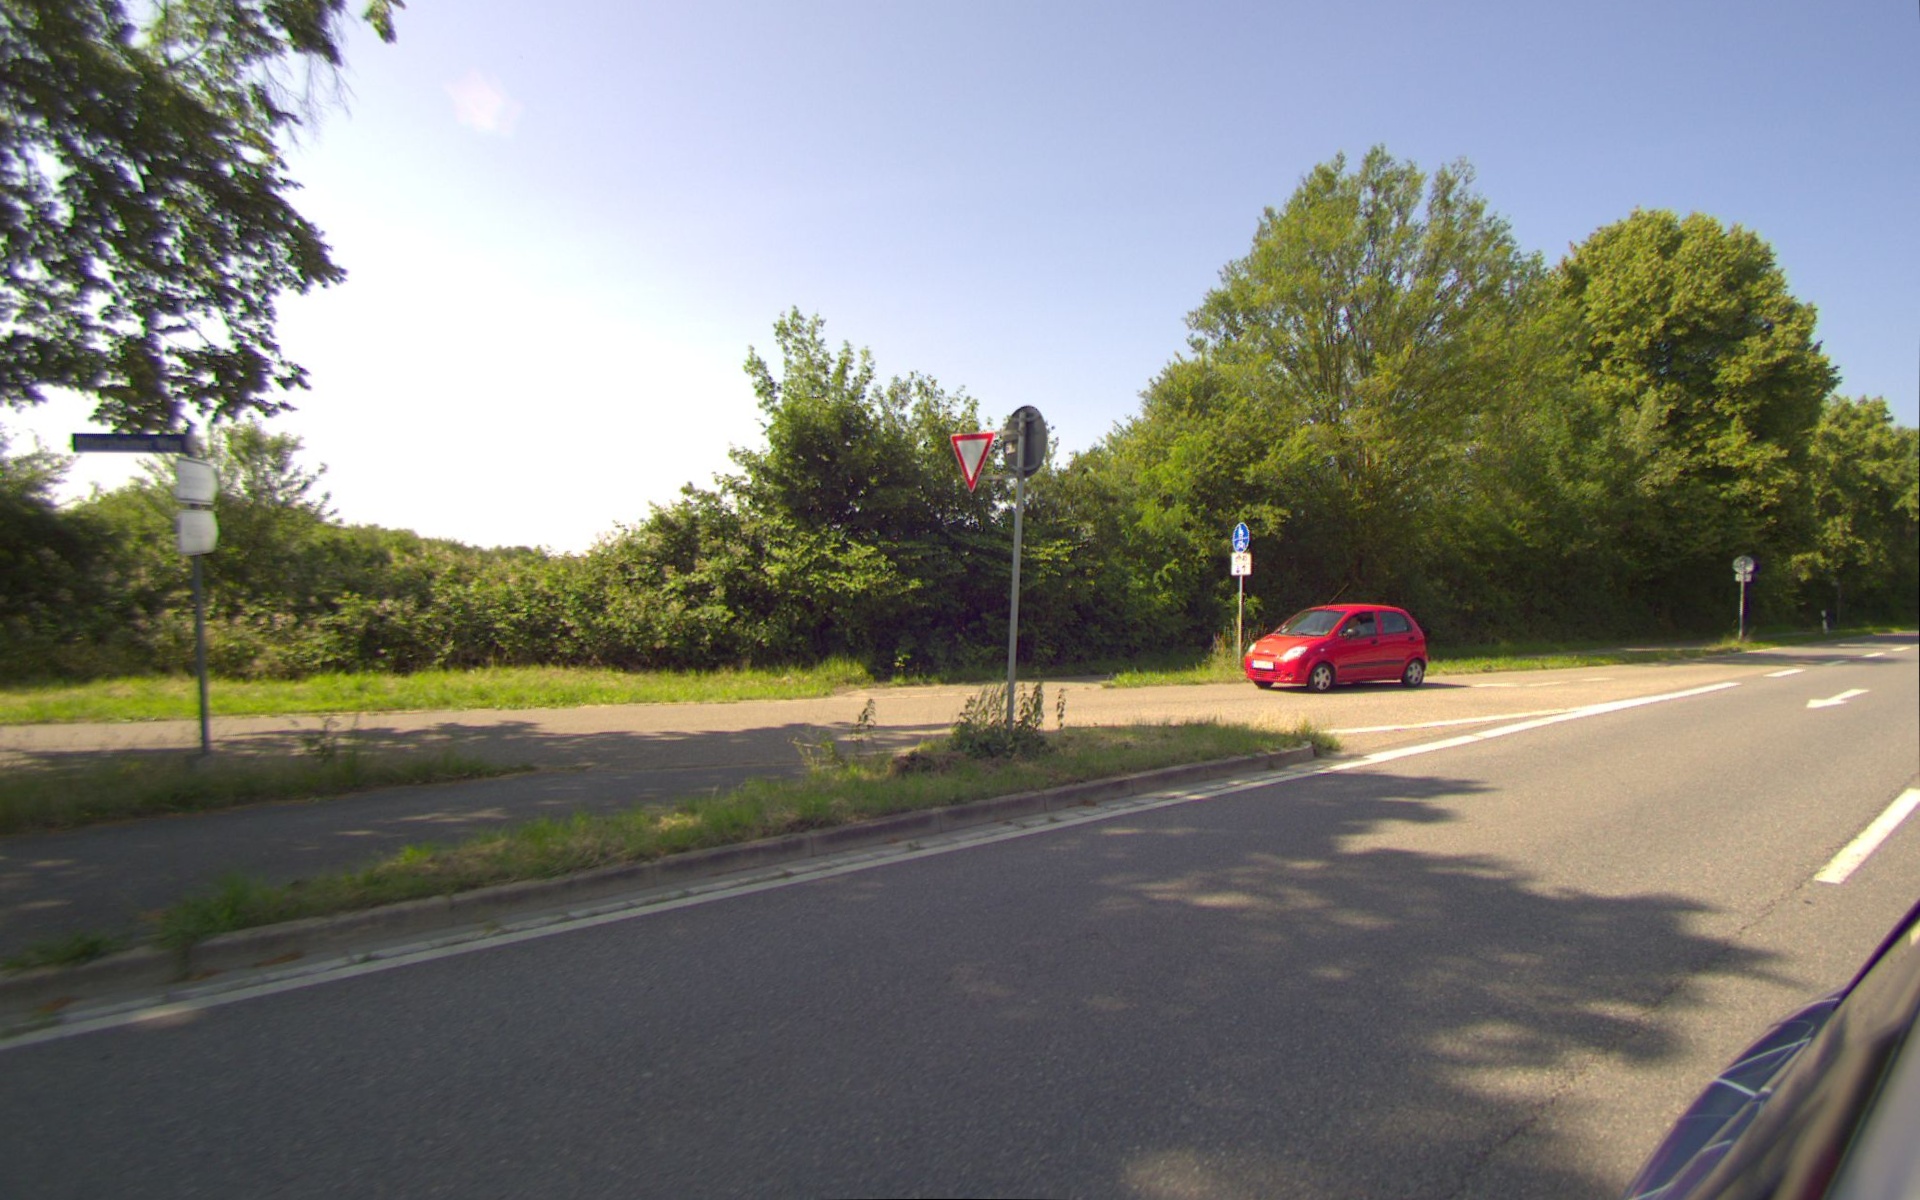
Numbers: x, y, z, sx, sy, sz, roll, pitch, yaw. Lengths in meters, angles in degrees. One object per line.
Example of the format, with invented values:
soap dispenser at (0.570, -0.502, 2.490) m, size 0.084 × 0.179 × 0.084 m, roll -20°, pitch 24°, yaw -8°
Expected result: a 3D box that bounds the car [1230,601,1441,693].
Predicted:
car at (6.686, 0.774, 18.014) m, size 3.495 × 1.471 × 1.553 m, roll 0°, pitch 0°, yaw -26°
